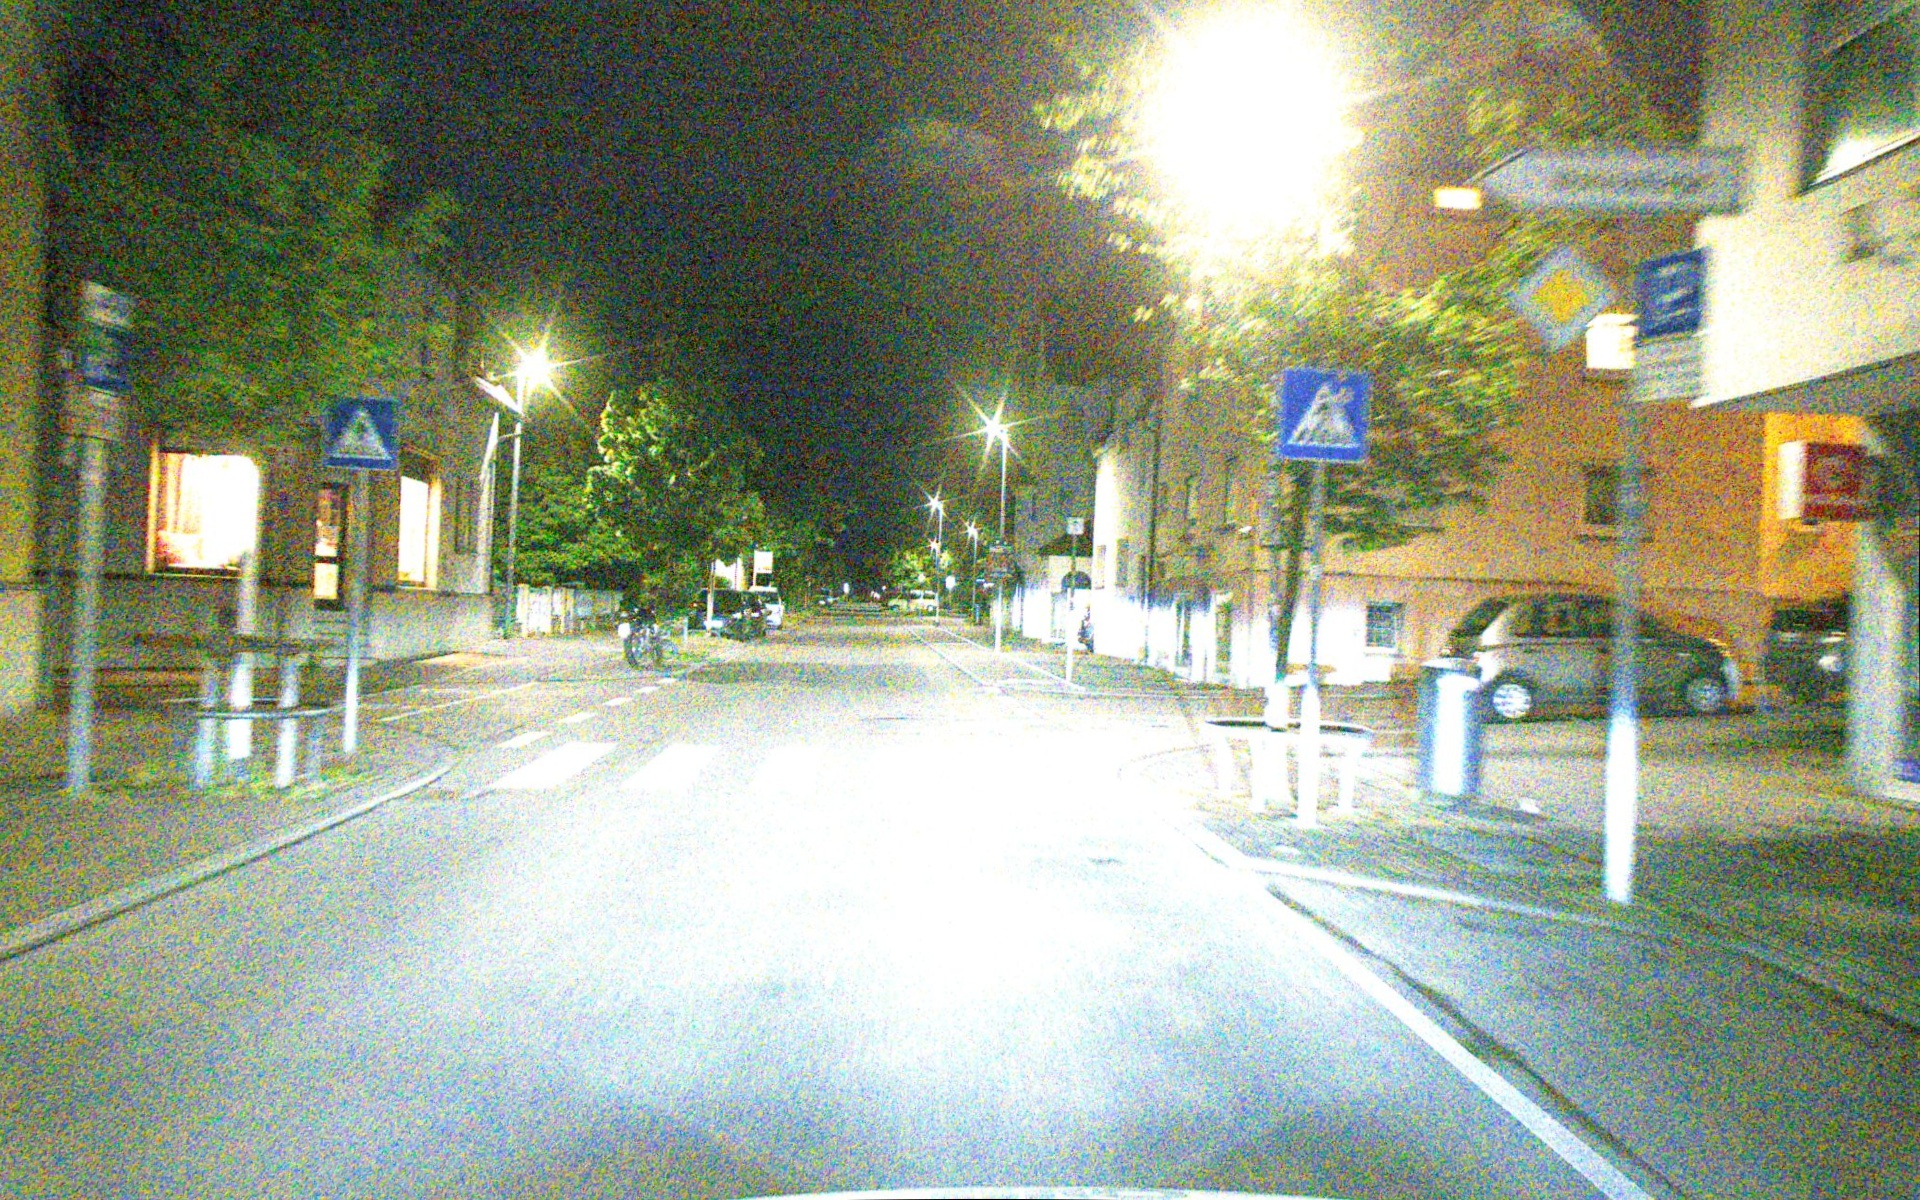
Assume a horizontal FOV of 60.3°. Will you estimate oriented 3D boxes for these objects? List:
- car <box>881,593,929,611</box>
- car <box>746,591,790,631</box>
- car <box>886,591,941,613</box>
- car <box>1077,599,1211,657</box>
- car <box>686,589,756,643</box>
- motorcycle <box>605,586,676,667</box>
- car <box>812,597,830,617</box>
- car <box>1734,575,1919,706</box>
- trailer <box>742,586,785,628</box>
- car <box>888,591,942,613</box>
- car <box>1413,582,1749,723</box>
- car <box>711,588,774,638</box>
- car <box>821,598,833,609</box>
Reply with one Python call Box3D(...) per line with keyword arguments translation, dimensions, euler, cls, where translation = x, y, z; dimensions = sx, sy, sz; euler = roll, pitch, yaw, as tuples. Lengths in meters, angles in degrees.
Box3D(translation=(-6.020, 0.211, 180.901), dimensions=(5.072, 1.920, 2.103), euler=(0, 0, 6), cls="car")
Box3D(translation=(-8.068, 0.444, 69.664), dimensions=(1.639, 1.548, 2.976), euler=(4, 0, -5), cls="car")
Box3D(translation=(-4.408, 0.193, 156.274), dimensions=(5.081, 2.049, 2.099), euler=(0, 0, -5), cls="car")
Box3D(translation=(5.292, 0.803, 47.836), dimensions=(3.636, 1.499, 1.730), euler=(2, -1, -1), cls="car")
Box3D(translation=(-7.245, 0.470, 50.495), dimensions=(1.654, 1.537, 4.276), euler=(2, 0, -3), cls="car")
Box3D(translation=(-6.066, 0.493, 31.515), dimensions=(0.730, 1.477, 2.197), euler=(1, 0, 5), cls="motorcycle")
Box3D(translation=(-15.047, 0.786, 179.214), dimensions=(1.789, 2.021, 4.460), euler=(4, -2, -5), cls="car")
Box3D(translation=(12.124, 0.447, 21.025), dimensions=(3.769, 1.522, 1.675), euler=(-2, -1, -4), cls="car")
Box3D(translation=(-8.653, 0.299, 72.860), dimensions=(1.419, 1.717, 3.425), euler=(4, 0, -1), cls="trailer")
Box3D(translation=(-4.329, 0.188, 159.348), dimensions=(5.081, 2.049, 2.099), euler=(0, 0, -5), cls="car")
Box3D(translation=(7.630, 0.619, 20.521), dimensions=(3.437, 1.551, 1.819), euler=(-2, 0, -4), cls="car")
Box3D(translation=(-7.268, 0.419, 55.674), dimensions=(1.731, 1.545, 4.275), euler=(3, 0, -4), cls="car")
Box3D(translation=(-18.341, 0.490, 228.224), dimensions=(1.650, 1.354, 3.596), euler=(2, 0, -5), cls="car")
